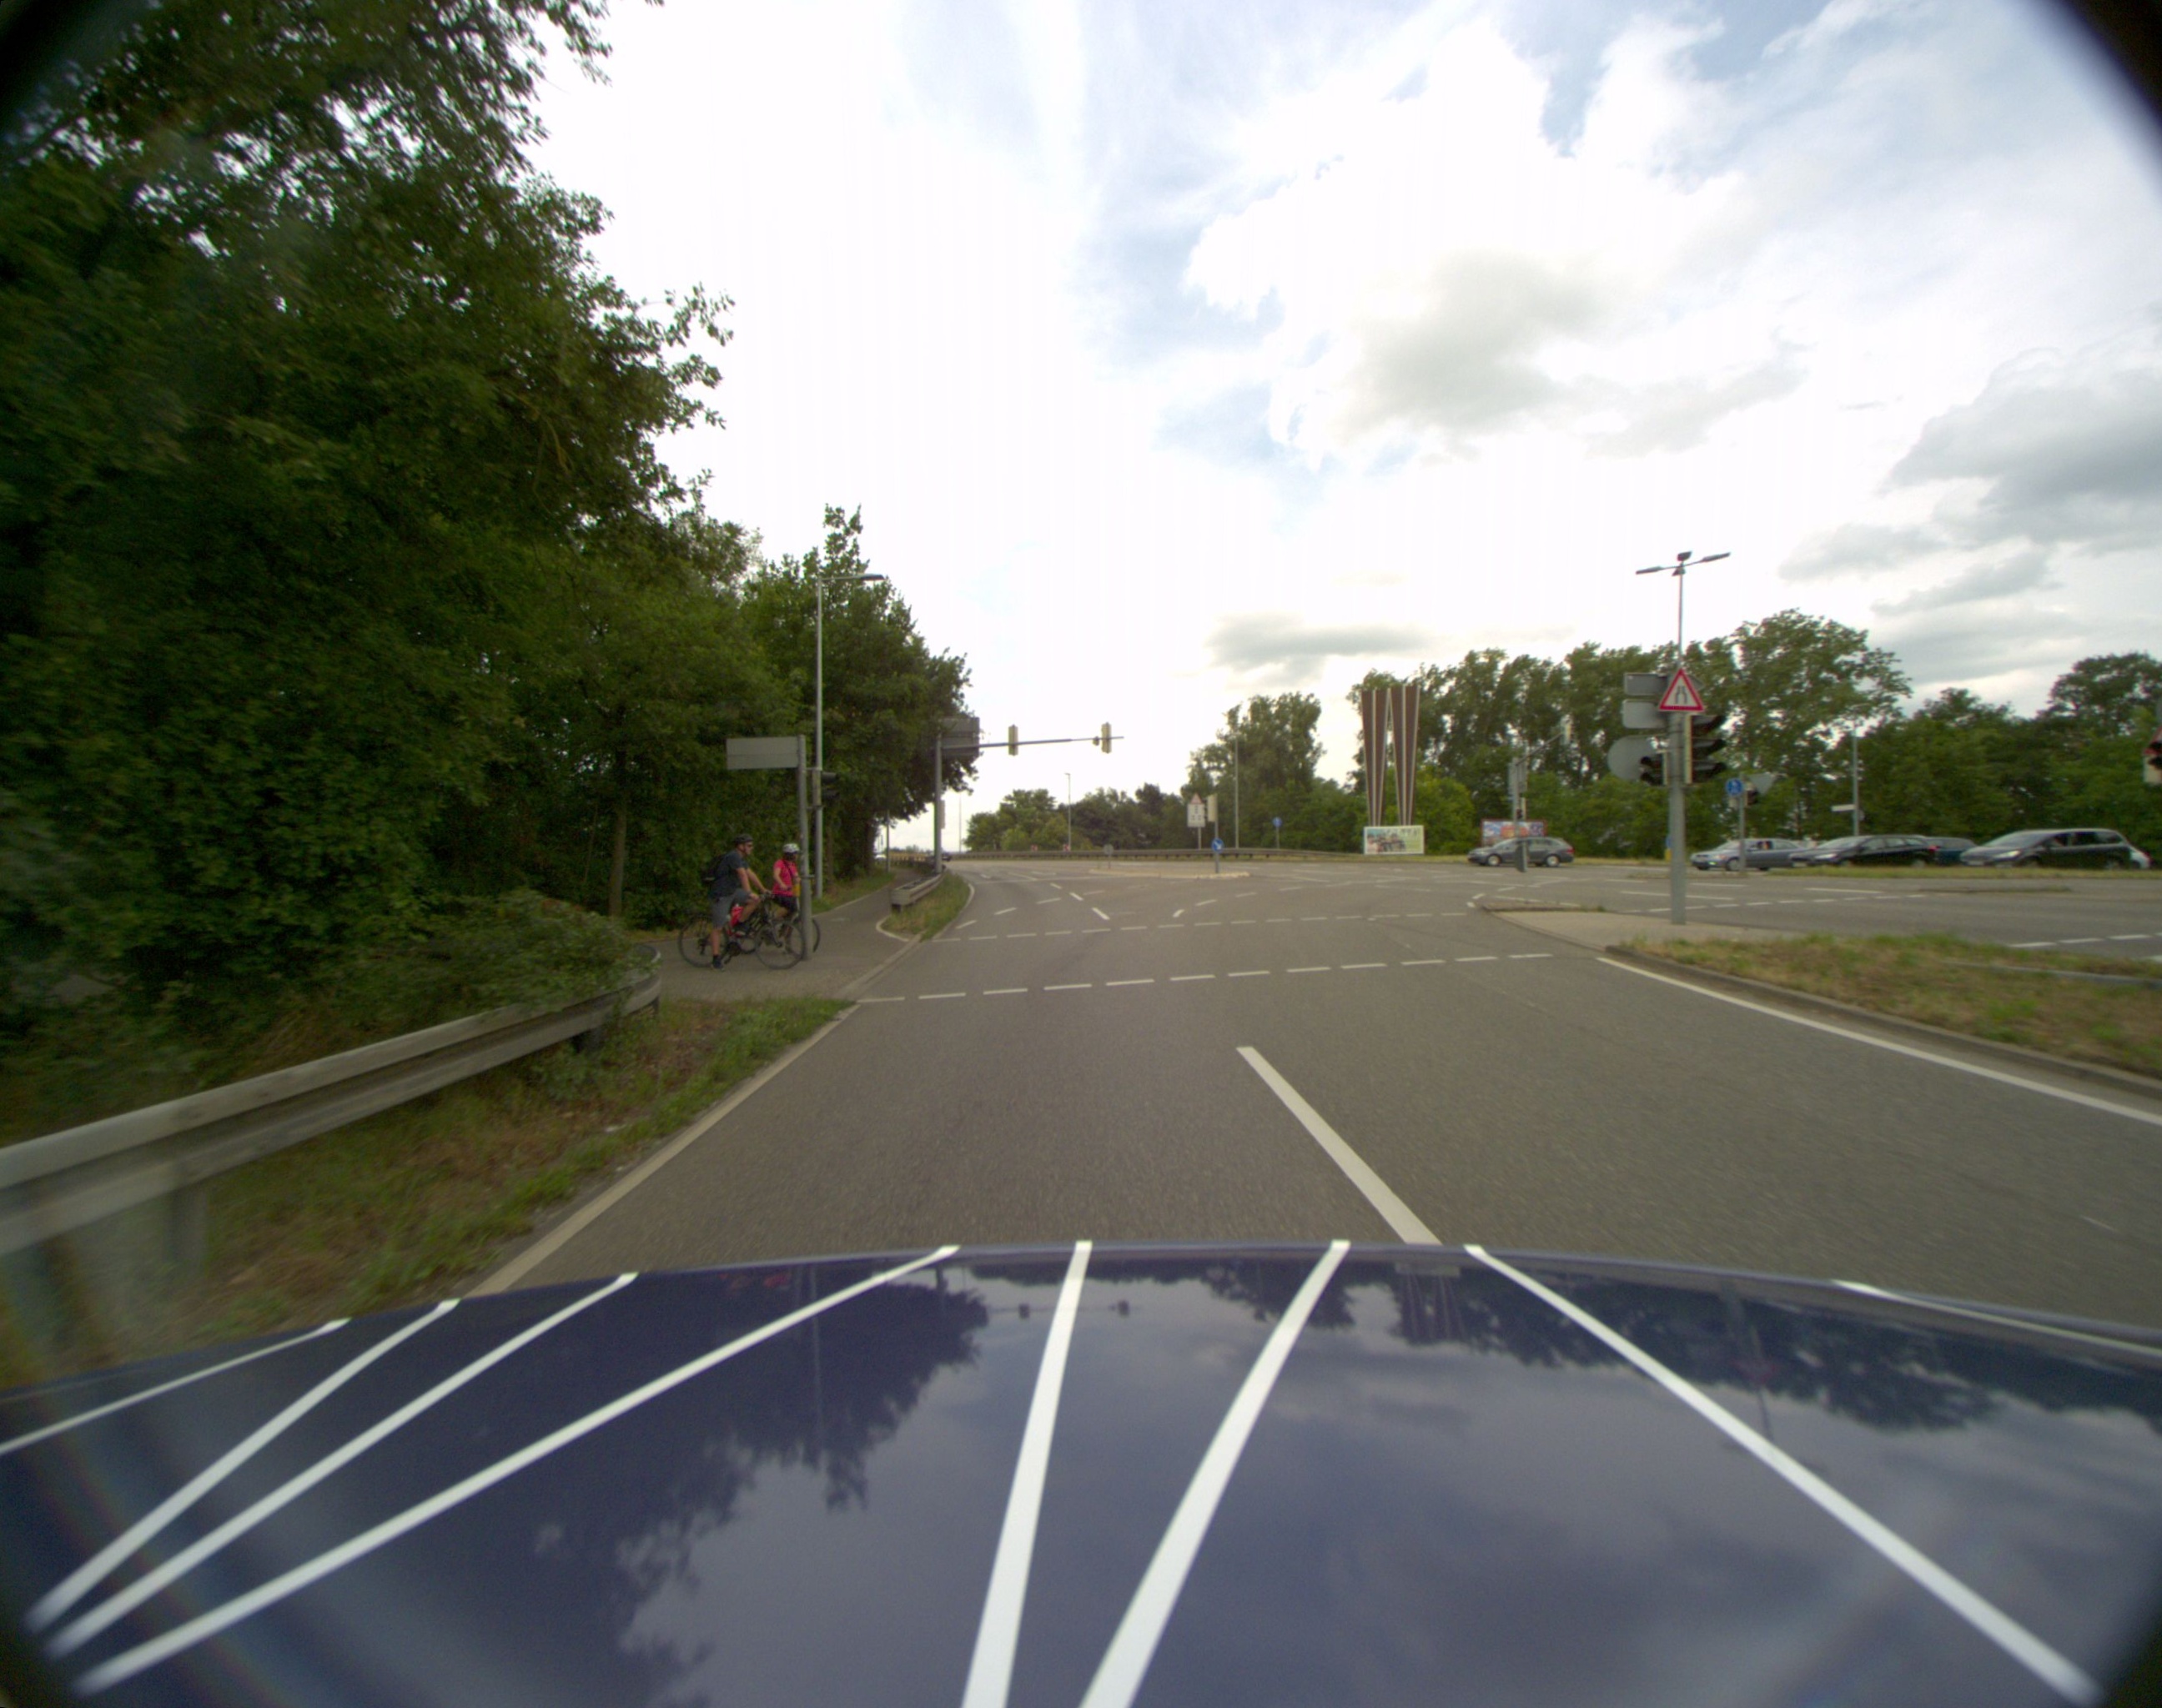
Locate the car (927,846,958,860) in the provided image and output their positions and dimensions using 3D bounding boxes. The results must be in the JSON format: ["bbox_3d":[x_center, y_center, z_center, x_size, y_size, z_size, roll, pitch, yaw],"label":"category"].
[{"bbox_3d":[-15.429,-0.096,84.418,2.003,1.447,4.643,-2,1,-29],"label":"car"}]

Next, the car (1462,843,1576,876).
[{"bbox_3d":[21.147,0.256,36.875,4.370,1.480,2.001,-1,1,12],"label":"car"}]

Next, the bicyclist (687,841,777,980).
[{"bbox_3d":[-4.764,0.750,10.422,0.952,1.833,0.664,1,1,-7],"label":"bicyclist"}]

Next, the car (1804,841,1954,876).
[{"bbox_3d":[33.558,0.168,32.037,4.335,1.302,1.999,-1,1,-3],"label":"car"}]

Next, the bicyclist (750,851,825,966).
[{"bbox_3d":[-4.574,0.828,11.861,0.852,1.722,0.637,0,2,10],"label":"bicyclist"}]

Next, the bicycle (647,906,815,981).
[{"bbox_3d":[-4.760,1.217,10.426,1.977,0.935,0.660,1,1,-7],"label":"bicycle"}]

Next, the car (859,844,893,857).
[{"bbox_3d":[-23.429,-0.388,86.606,3.874,1.448,1.943,0,-1,43],"label":"car"}]

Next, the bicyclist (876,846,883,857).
[{"bbox_3d":[-29.468,-0.359,111.054,0.755,1.531,0.613,0,2,37],"label":"bicyclist"}]

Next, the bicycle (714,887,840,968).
[{"bbox_3d":[-4.731,1.129,11.857,1.745,1.132,0.631,1,2,10],"label":"bicycle"}]

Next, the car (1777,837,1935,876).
[{"bbox_3d":[29.167,0.077,28.687,4.069,1.302,1.999,-1,1,-2],"label":"car"}]

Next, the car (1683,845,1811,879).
[{"bbox_3d":[28.417,0.306,32.516,3.804,1.302,1.999,-1,1,-2],"label":"car"}]

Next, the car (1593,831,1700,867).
[{"bbox_3d":[30.109,-0.285,40.529,4.254,1.773,1.927,-1,1,1],"label":"car"}]

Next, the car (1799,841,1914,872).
[{"bbox_3d":[36.201,0.109,35.512,3.884,1.302,1.643,-2,1,-4],"label":"car"}]

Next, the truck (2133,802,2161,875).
[{"bbox_3d":[50.970,-0.790,32.199,9.272,3.118,2.970,-2,1,-4],"label":"truck"}]

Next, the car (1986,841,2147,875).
[{"bbox_3d":[41.367,0.146,31.960,4.335,1.302,1.999,-1,1,-3],"label":"car"}]

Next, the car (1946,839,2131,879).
[{"bbox_3d":[35.674,0.162,28.391,4.572,1.302,1.999,-1,1,-3],"label":"car"}]
